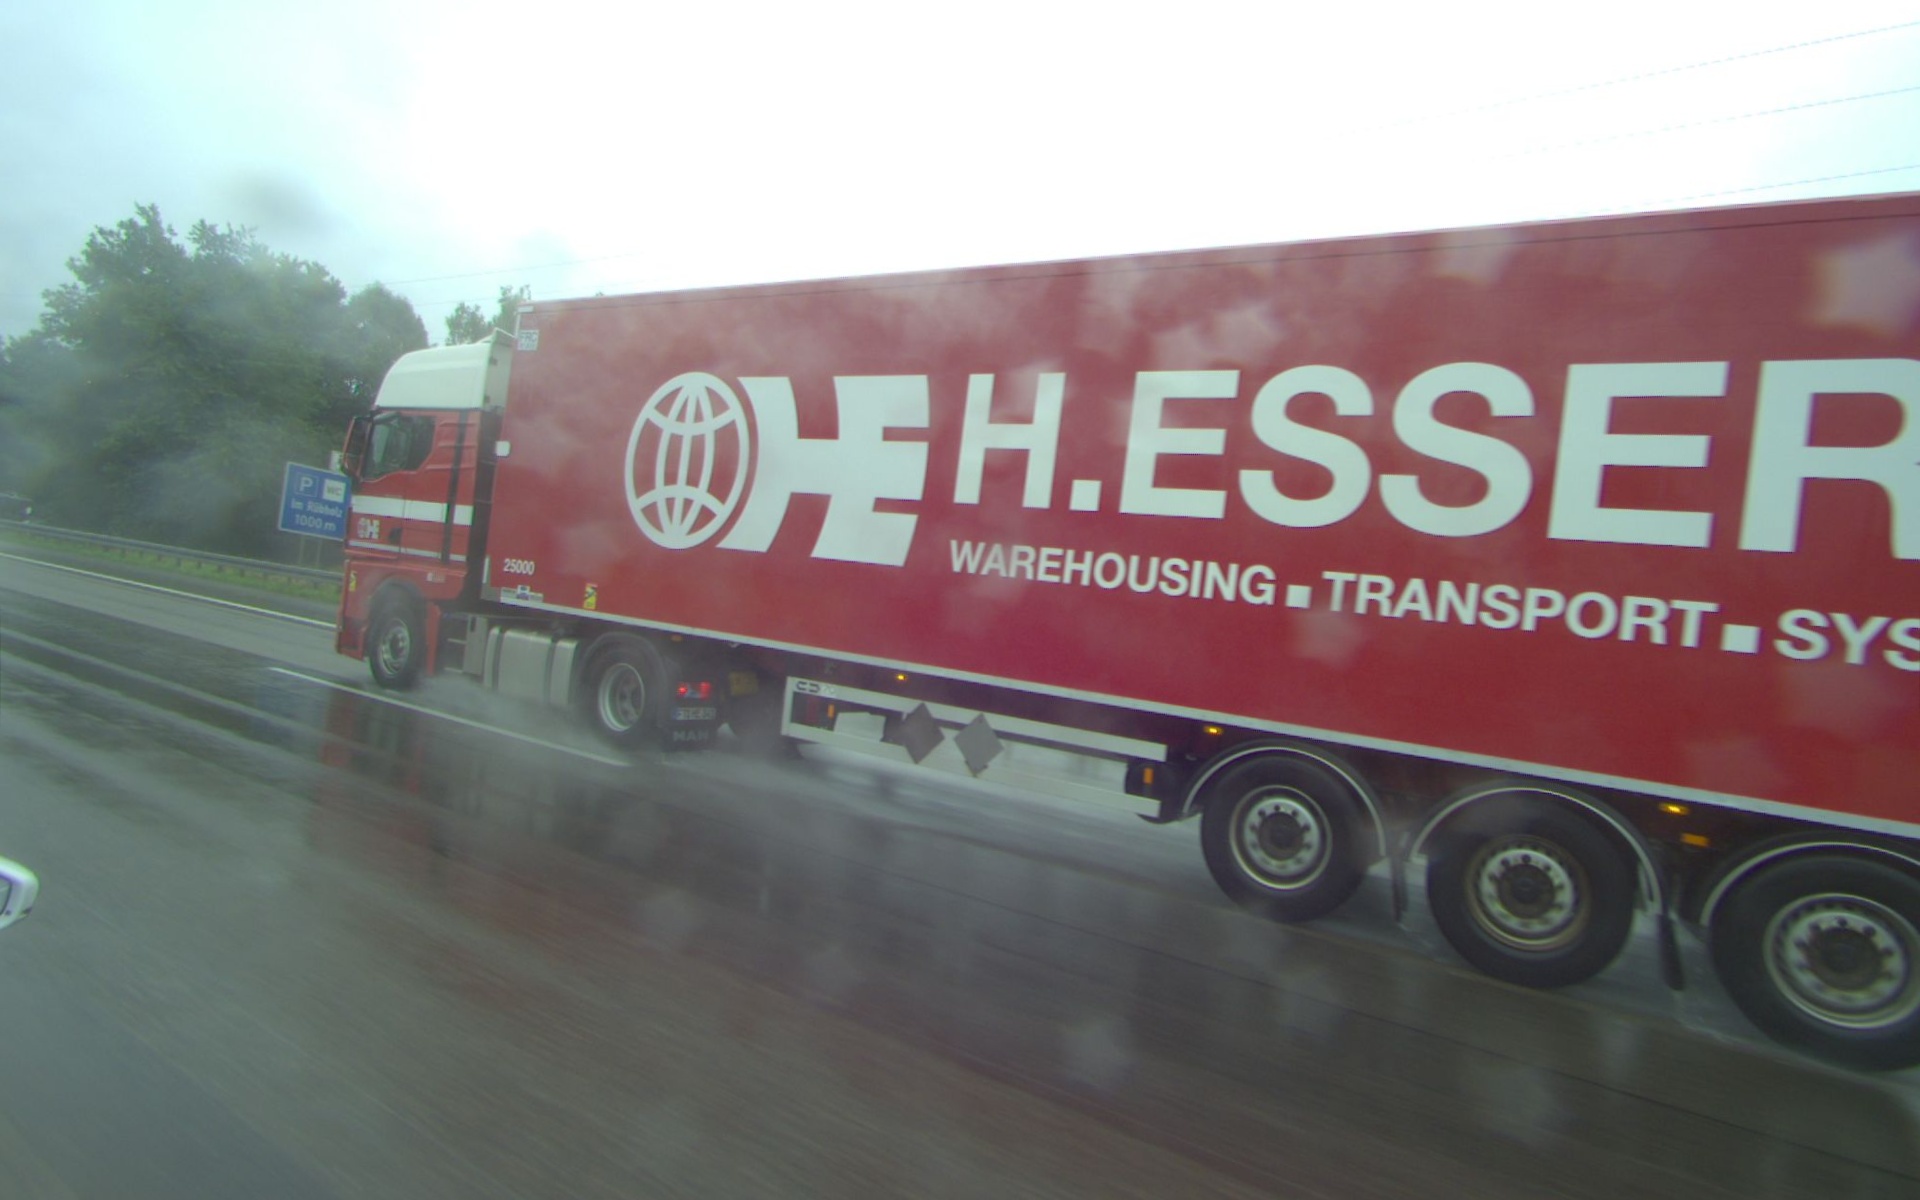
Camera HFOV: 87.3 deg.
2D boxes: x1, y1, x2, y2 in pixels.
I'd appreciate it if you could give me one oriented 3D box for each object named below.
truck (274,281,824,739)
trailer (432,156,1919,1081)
[{"bbox_3d":[-4.658,-0.927,11.244,5.342,4.002,2.625,7,-1,31],"label":"truck"},{"bbox_3d":[1.406,-0.239,7.568,13.402,4.002,2.625,7,-1,31],"label":"trailer"}]
